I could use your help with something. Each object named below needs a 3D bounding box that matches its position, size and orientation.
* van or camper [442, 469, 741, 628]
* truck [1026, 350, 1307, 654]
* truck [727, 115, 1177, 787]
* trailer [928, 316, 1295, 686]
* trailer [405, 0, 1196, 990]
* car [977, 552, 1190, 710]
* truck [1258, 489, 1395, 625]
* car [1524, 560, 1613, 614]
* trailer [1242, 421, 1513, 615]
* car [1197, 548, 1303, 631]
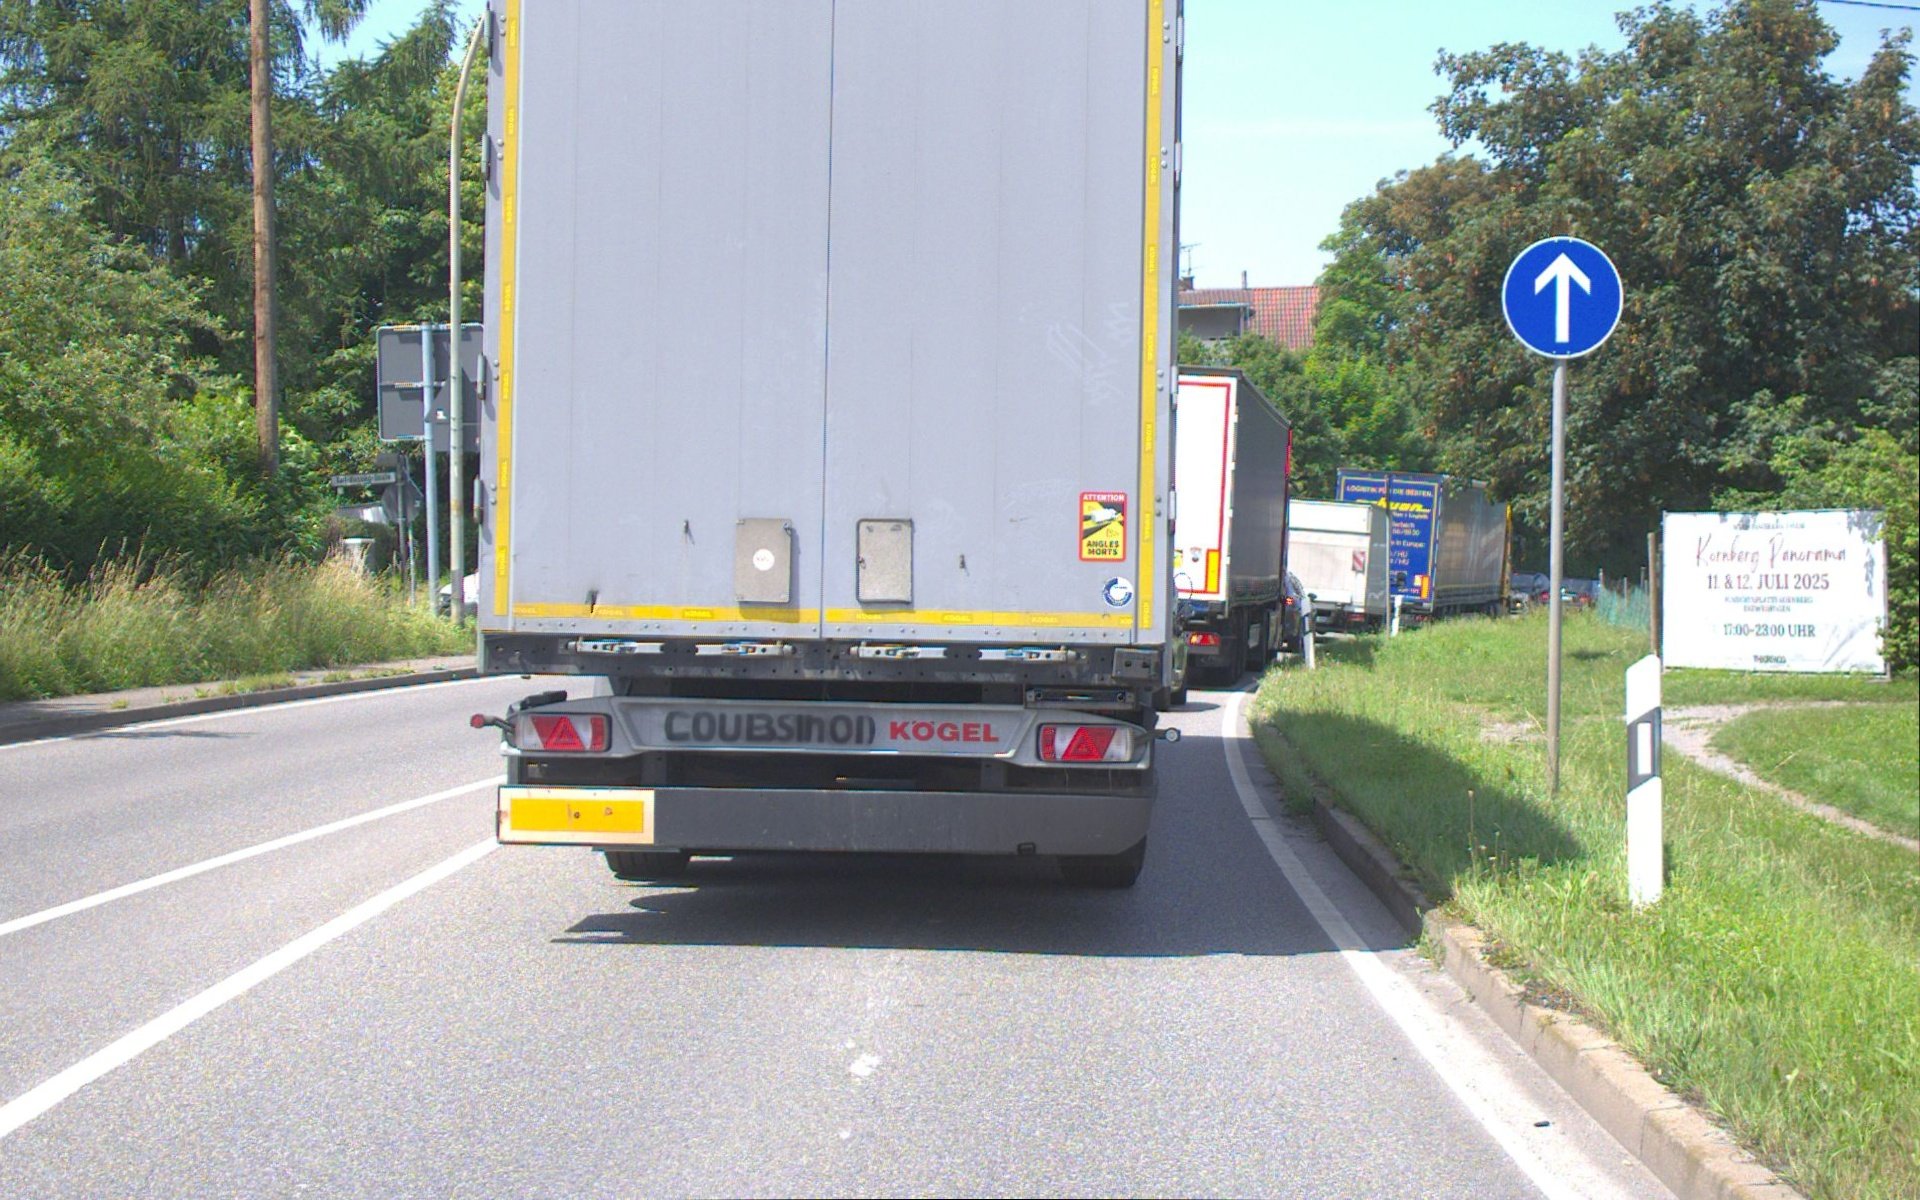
[{"bbox_3d":[-6.533,-0.909,60.845,4.854,2.706,2.198,0,1,-19],"label":"van or camper"},{"bbox_3d":[3.465,-1.535,55.553,3.938,4.559,7.150,1,1,8],"label":"truck"},{"bbox_3d":[0.131,-1.011,24.528,2.746,4.151,6.142,1,1,4],"label":"truck"},{"bbox_3d":[2.457,-1.309,48.455,3.892,4.505,12.709,1,1,8],"label":"trailer"},{"bbox_3d":[-0.233,-0.877,18.315,2.787,4.191,12.110,1,1,3],"label":"trailer"},{"bbox_3d":[1.386,0.287,36.929,1.994,1.525,3.999,1,1,6],"label":"car"},{"bbox_3d":[8.058,-0.964,75.148,2.422,2.828,5.410,1,1,12],"label":"truck"},{"bbox_3d":[19.875,-0.438,112.195,1.996,1.678,3.995,1,1,23],"label":"car"},{"bbox_3d":[11.304,-2.166,90.780,5.183,4.612,15.886,1,1,14],"label":"trailer"},{"bbox_3d":[5.560,-0.226,65.494,1.842,1.481,3.999,1,1,7],"label":"car"}]
